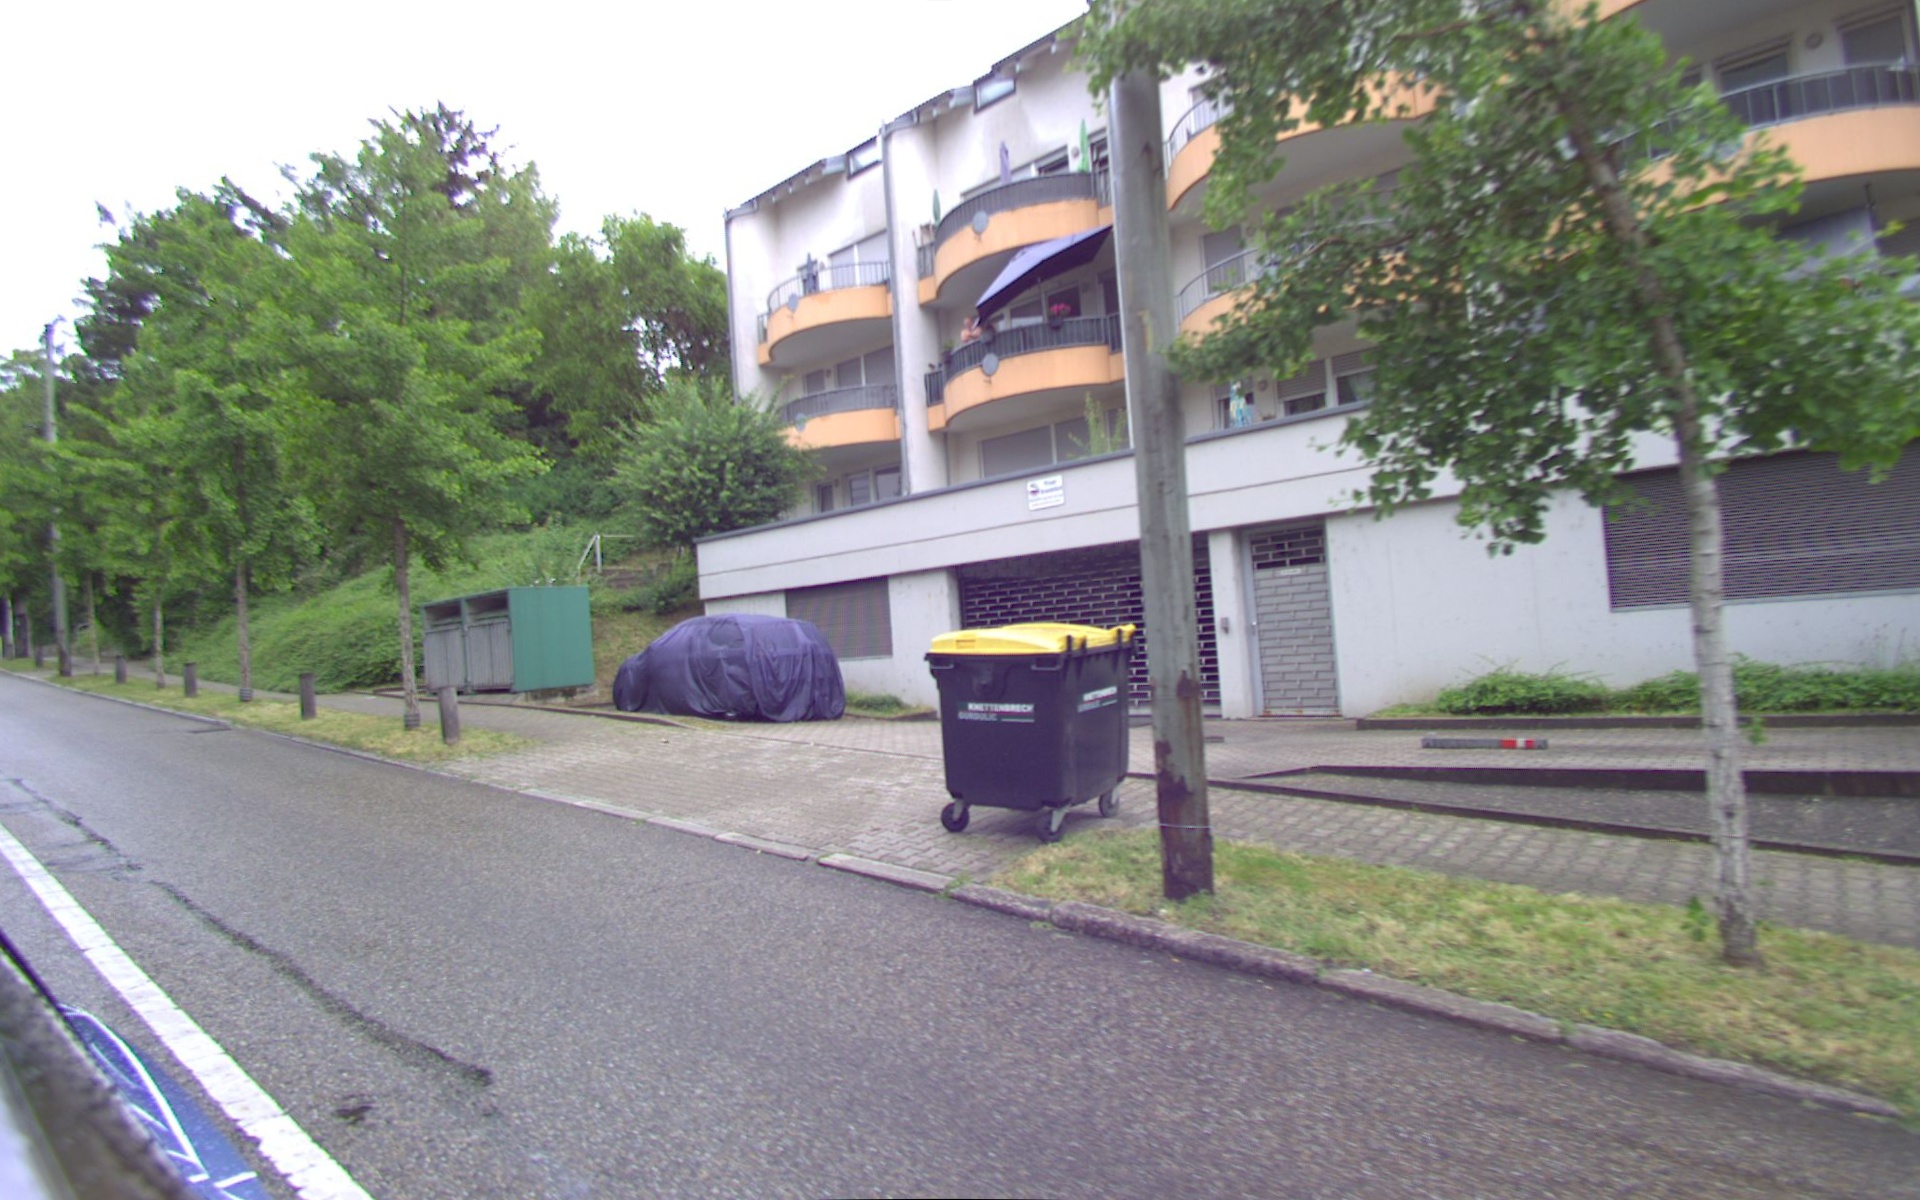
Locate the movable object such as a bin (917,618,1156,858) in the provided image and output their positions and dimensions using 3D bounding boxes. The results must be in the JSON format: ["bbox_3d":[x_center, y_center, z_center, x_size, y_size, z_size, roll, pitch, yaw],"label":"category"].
[{"bbox_3d":[0.532,0.831,6.722,1.120,1.360,1.213,-2,0,33],"label":"movable object such as a bin"}]

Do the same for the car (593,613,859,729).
[{"bbox_3d":[-3.526,1.019,14.993,3.861,1.503,1.833,-2,-5,39],"label":"car"}]
